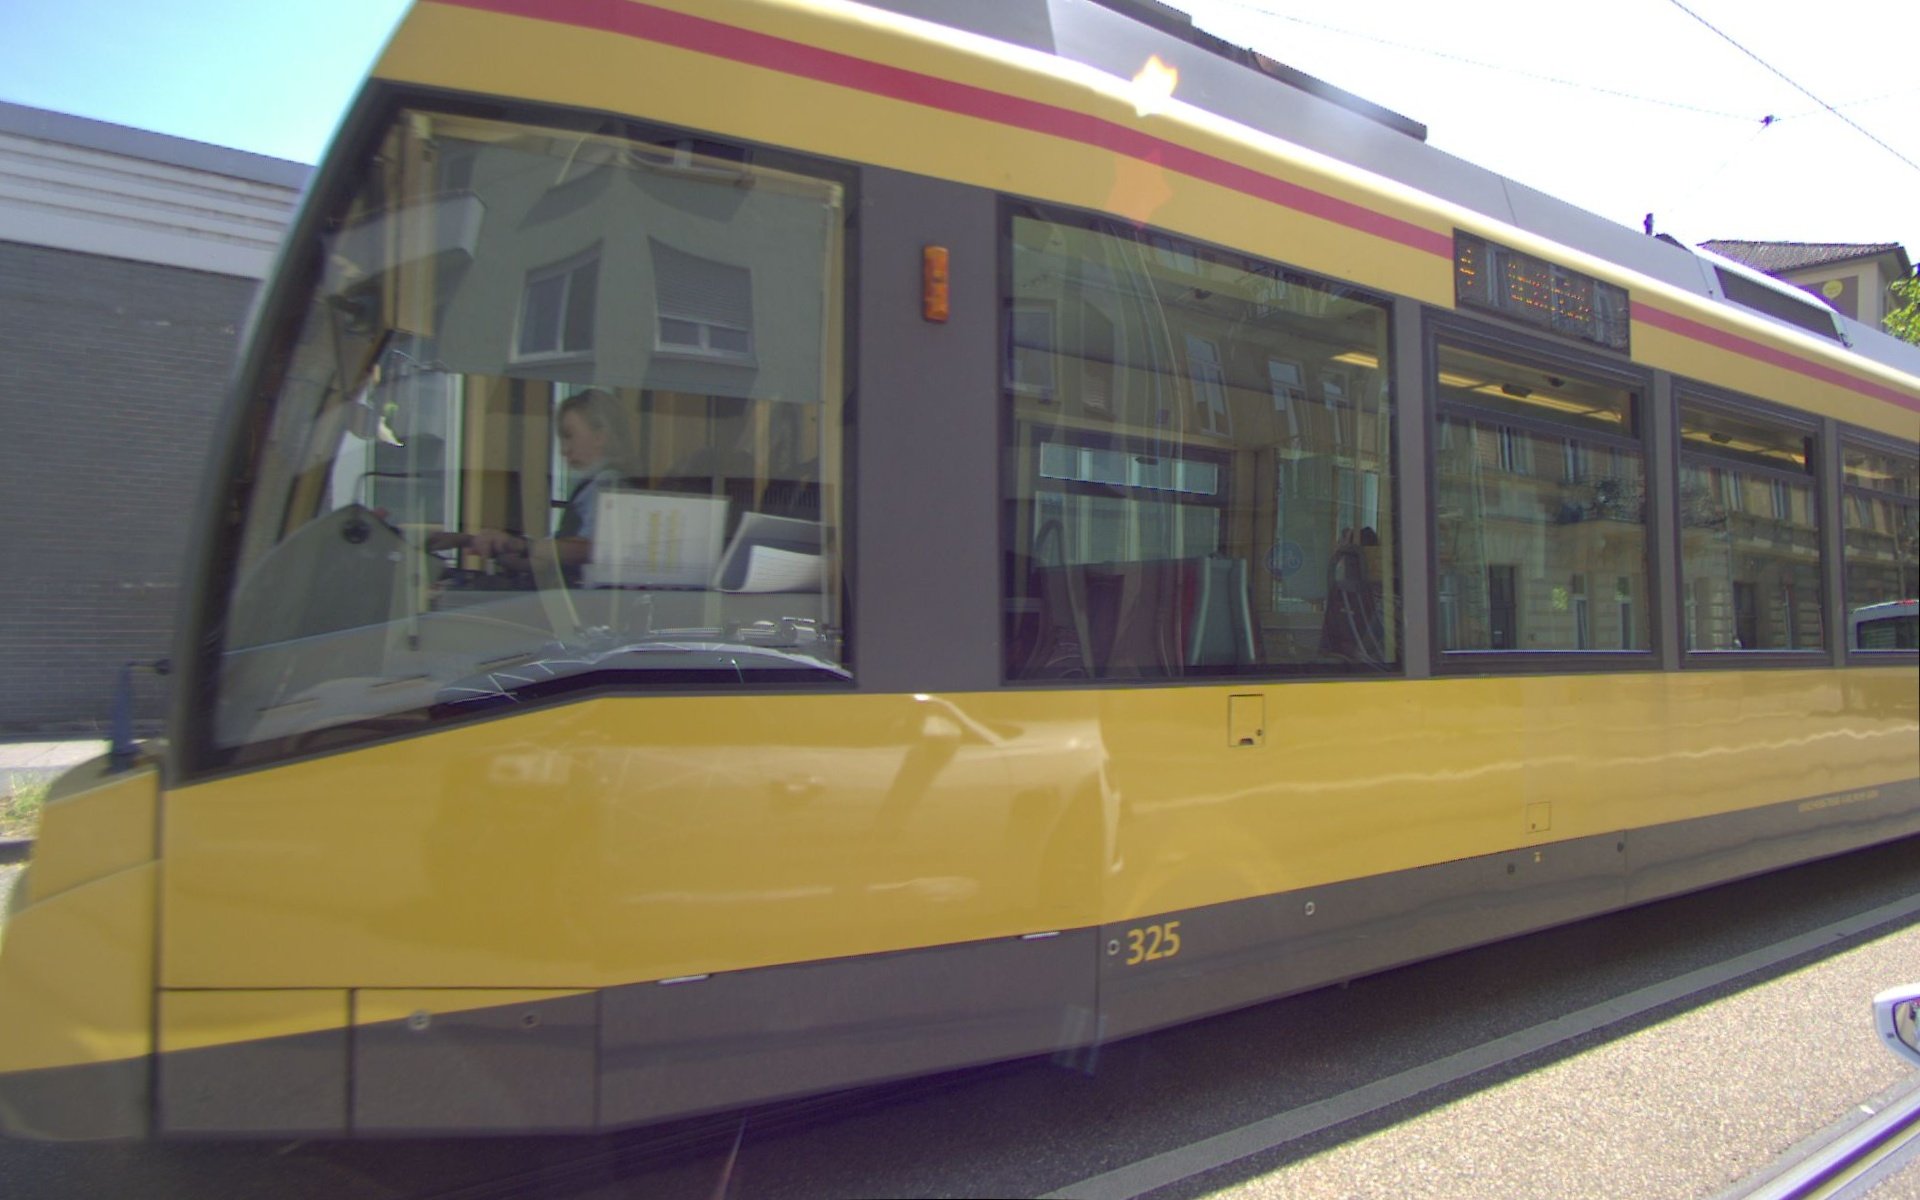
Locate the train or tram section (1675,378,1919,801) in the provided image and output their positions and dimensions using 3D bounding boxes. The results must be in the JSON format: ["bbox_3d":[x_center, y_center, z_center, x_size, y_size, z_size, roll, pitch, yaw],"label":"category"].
[{"bbox_3d":[13.708,0.058,12.414,13.270,3.628,2.945,2,-1,-31],"label":"train or tram section"}]

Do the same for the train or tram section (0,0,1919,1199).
[{"bbox_3d":[3.400,-0.267,6.129,13.270,3.628,2.945,2,-1,-31],"label":"train or tram section"}]
